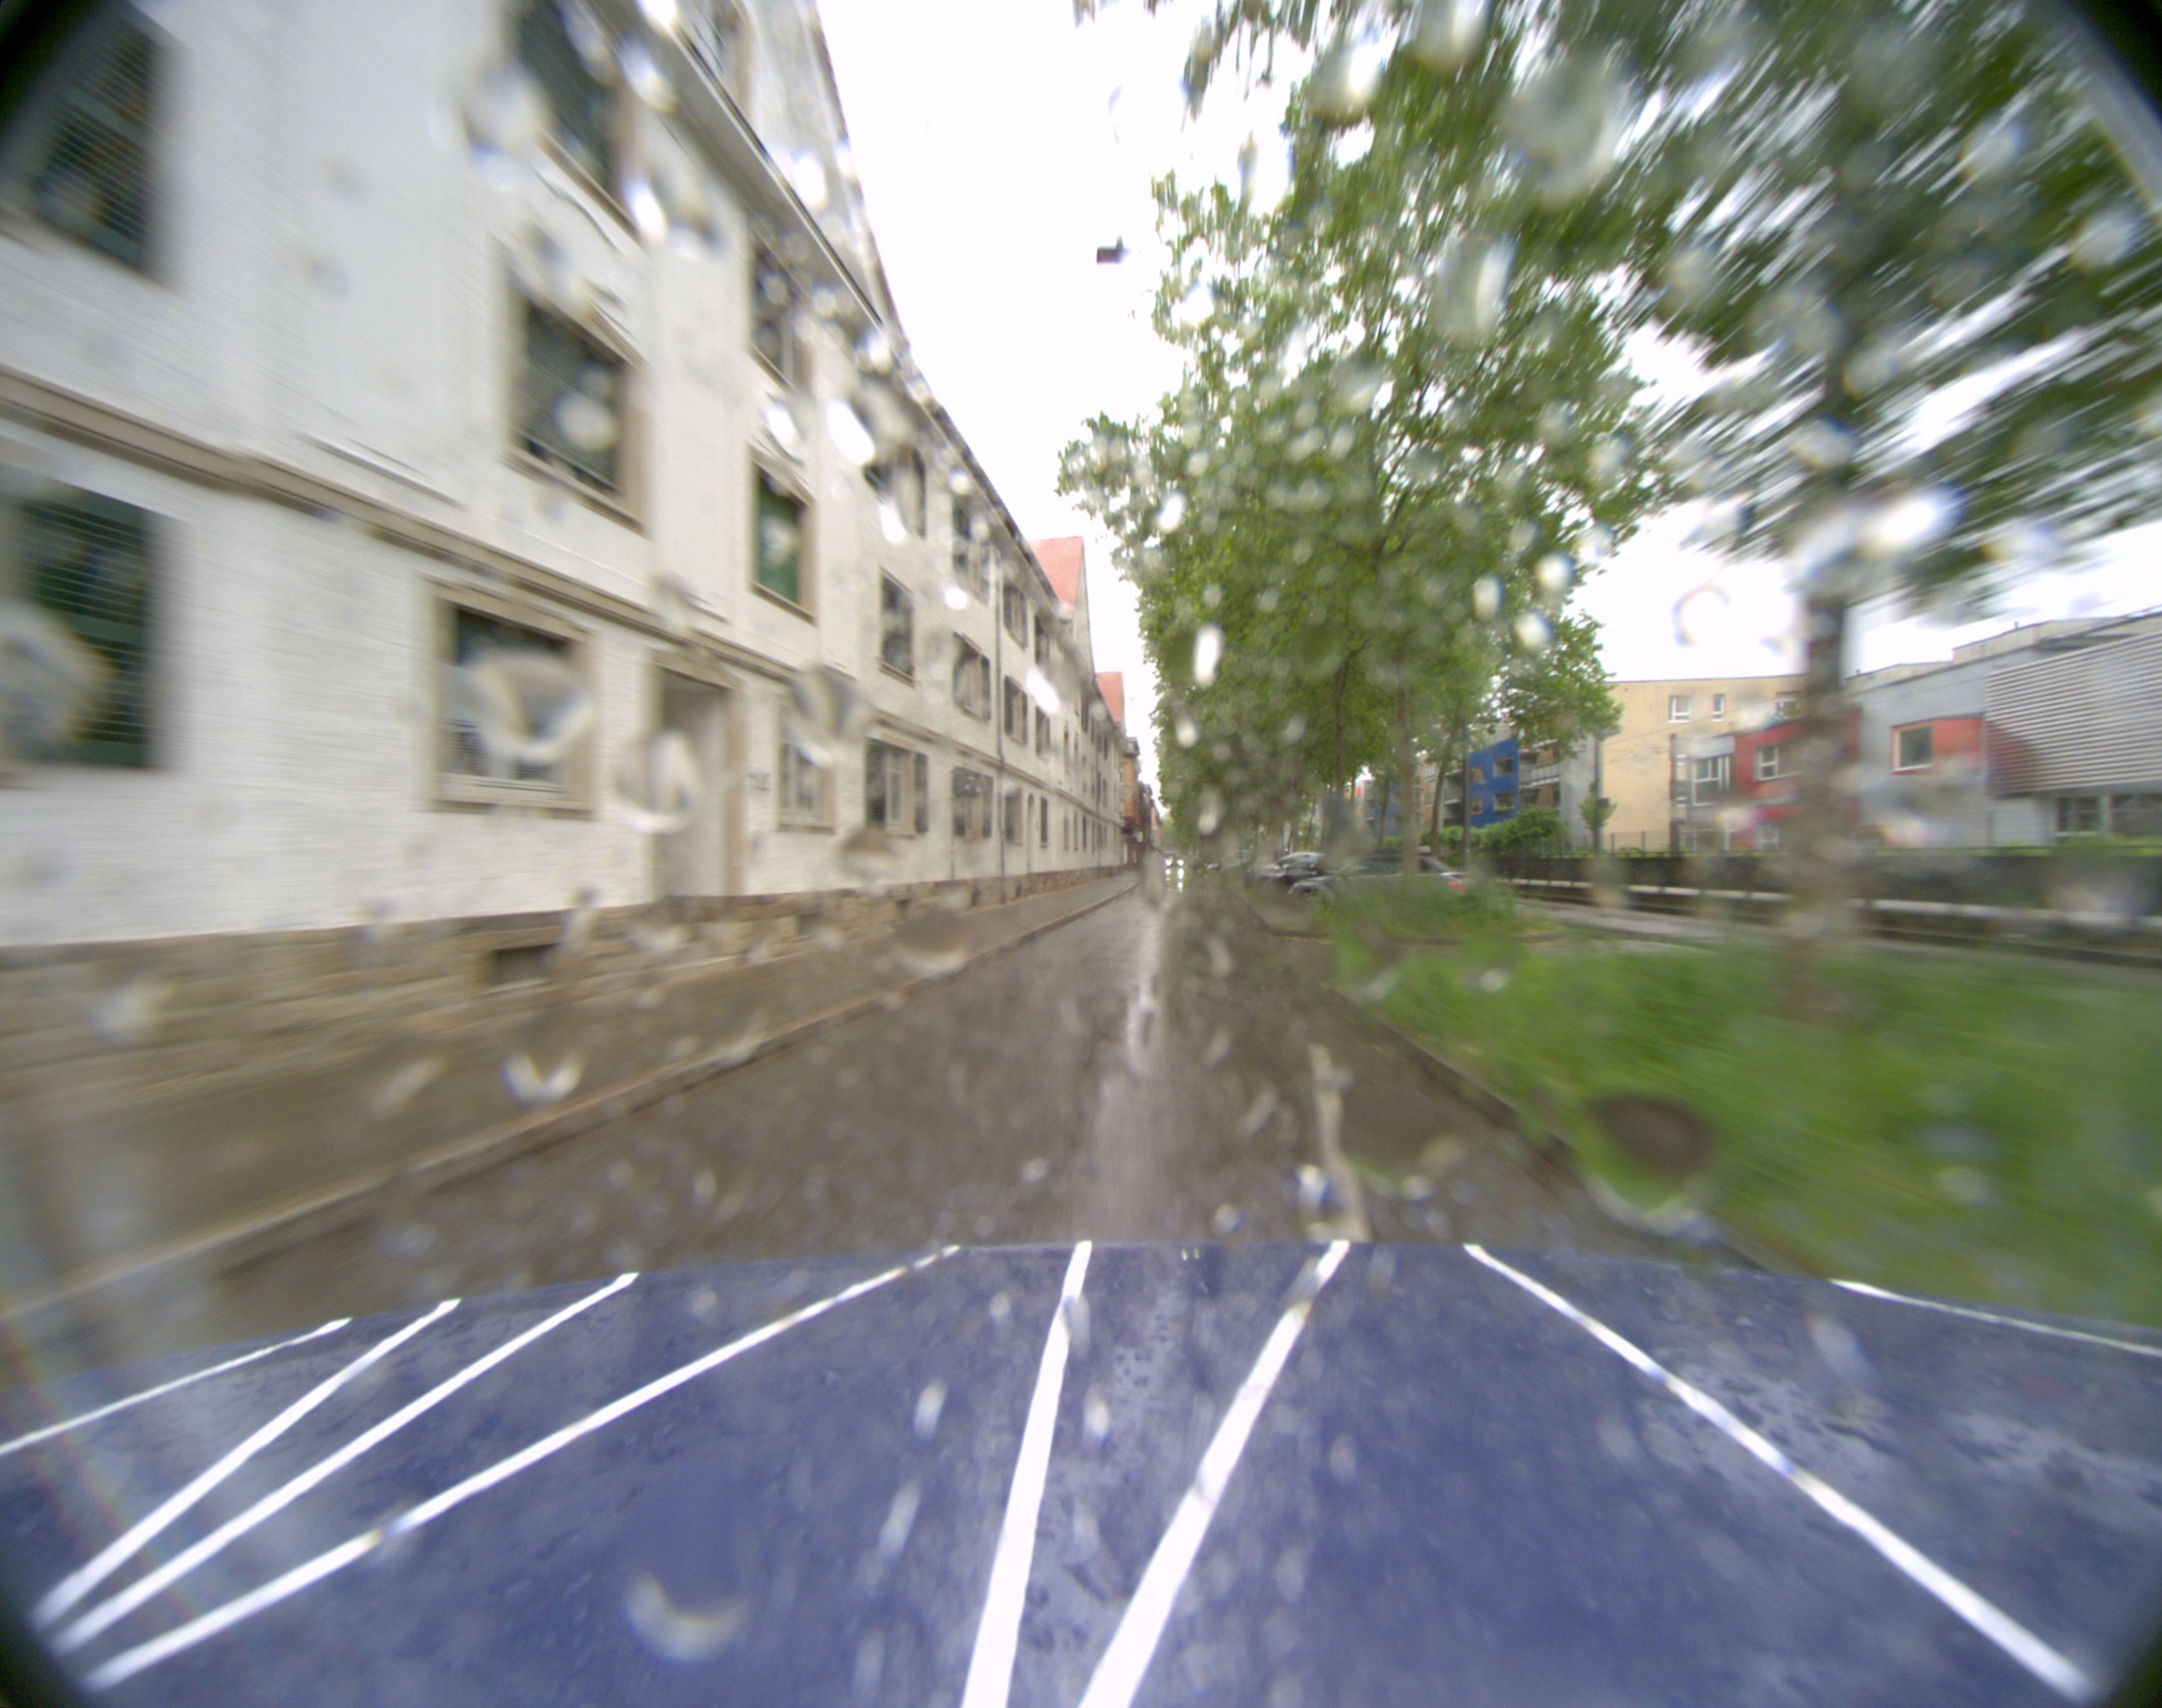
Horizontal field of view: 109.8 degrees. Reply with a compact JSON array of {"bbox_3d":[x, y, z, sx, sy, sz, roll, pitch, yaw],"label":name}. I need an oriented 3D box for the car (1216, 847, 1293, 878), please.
[{"bbox_3d":[12.211,0.556,53.637,4.877,2.002,2.004,2,1,38],"label":"car"}]

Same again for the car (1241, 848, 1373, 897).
[{"bbox_3d":[8.345,0.634,28.183,4.321,1.603,1.752,2,1,33],"label":"car"}]

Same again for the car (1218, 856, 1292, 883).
[{"bbox_3d":[10.465,0.914,45.777,3.988,1.477,1.663,1,1,30],"label":"car"}]

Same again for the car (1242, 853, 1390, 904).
[{"bbox_3d":[7.766,0.753,25.313,4.320,1.499,1.752,2,1,40],"label":"car"}]

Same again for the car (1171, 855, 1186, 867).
[{"bbox_3d":[13.313,0.896,103.423,1.849,1.586,4.219,0,0,9],"label":"car"}]

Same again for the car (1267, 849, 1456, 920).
[{"bbox_3d":[7.199,0.707,19.723,4.218,1.601,1.752,2,1,38],"label":"car"}]

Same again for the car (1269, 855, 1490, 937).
[{"bbox_3d":[6.627,0.828,17.071,4.218,1.532,1.935,2,1,38],"label":"car"}]
